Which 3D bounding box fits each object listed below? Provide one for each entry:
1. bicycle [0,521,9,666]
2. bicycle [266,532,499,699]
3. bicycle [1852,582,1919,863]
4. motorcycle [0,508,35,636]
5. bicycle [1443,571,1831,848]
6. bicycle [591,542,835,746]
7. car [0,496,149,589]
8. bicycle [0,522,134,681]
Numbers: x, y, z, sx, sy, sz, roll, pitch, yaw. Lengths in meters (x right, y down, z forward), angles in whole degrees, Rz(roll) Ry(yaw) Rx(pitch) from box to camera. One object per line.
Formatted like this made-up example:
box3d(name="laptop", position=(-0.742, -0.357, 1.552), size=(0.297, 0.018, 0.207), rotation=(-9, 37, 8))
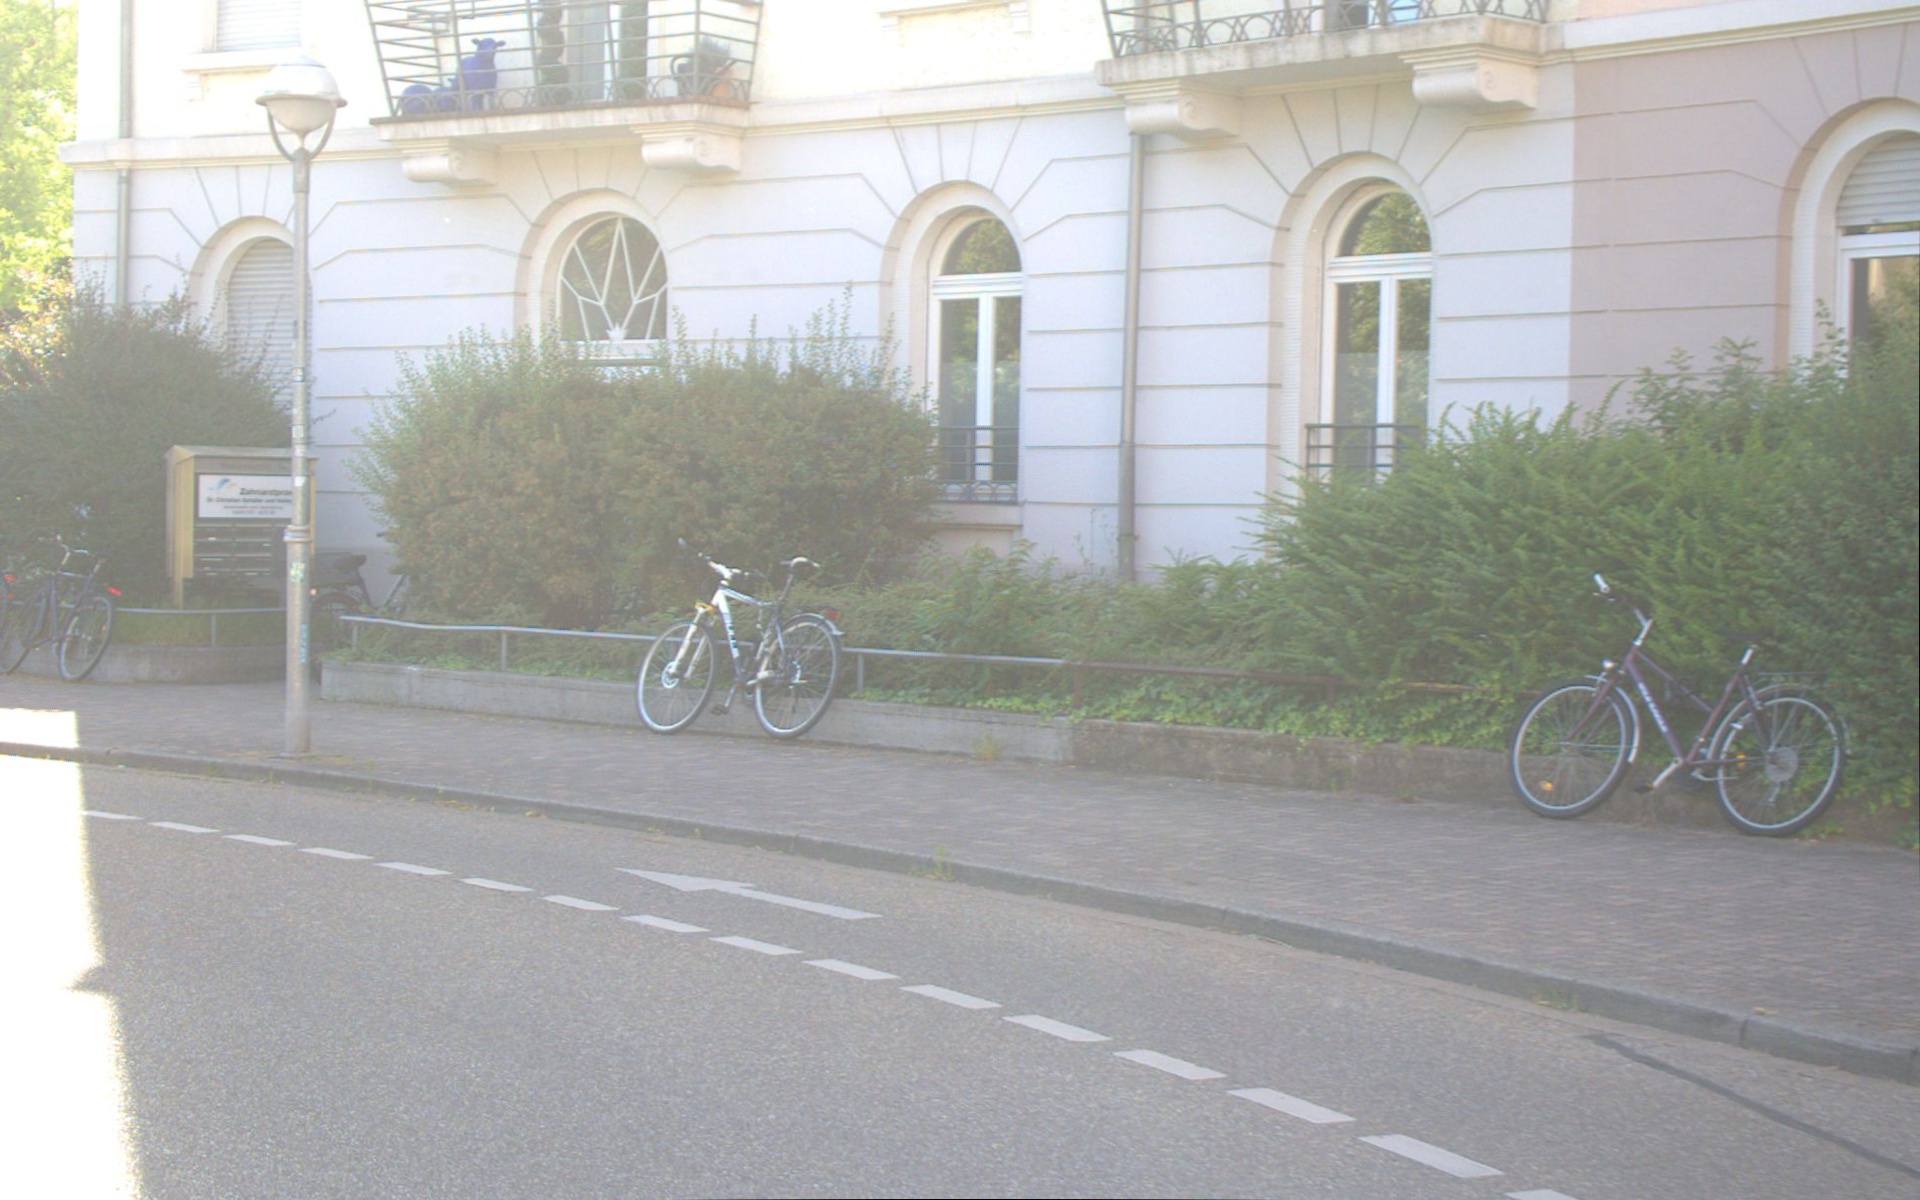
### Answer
box3d(name="bicycle", position=(-7.991, -0.079, 26.952), size=(0.498, 1.104, 1.800), rotation=(-1, 2, -33))
box3d(name="bicycle", position=(-4.001, 0.091, 23.922), size=(0.500, 1.104, 1.679), rotation=(2, 2, 40))
box3d(name="bicycle", position=(4.312, 0.499, 13.266), size=(0.501, 1.084, 1.686), rotation=(-2, 3, -42))
box3d(name="motorcycle", position=(-9.335, -0.252, 31.906), size=(0.886, 1.187, 1.490), rotation=(-1, 2, 9))
box3d(name="bicycle", position=(2.904, 0.442, 14.884), size=(0.501, 1.084, 1.686), rotation=(-2, 3, -42))
box3d(name="bicycle", position=(-1.433, 0.228, 19.721), size=(0.501, 1.084, 1.686), rotation=(-2, 3, -40))
box3d(name="car", position=(-12.845, -0.814, 48.100), size=(1.794, 1.251, 3.718), rotation=(1, 1, 6))
box3d(name="bicycle", position=(-6.757, -0.006, 25.477), size=(0.499, 1.104, 1.800), rotation=(-1, 3, -40))
